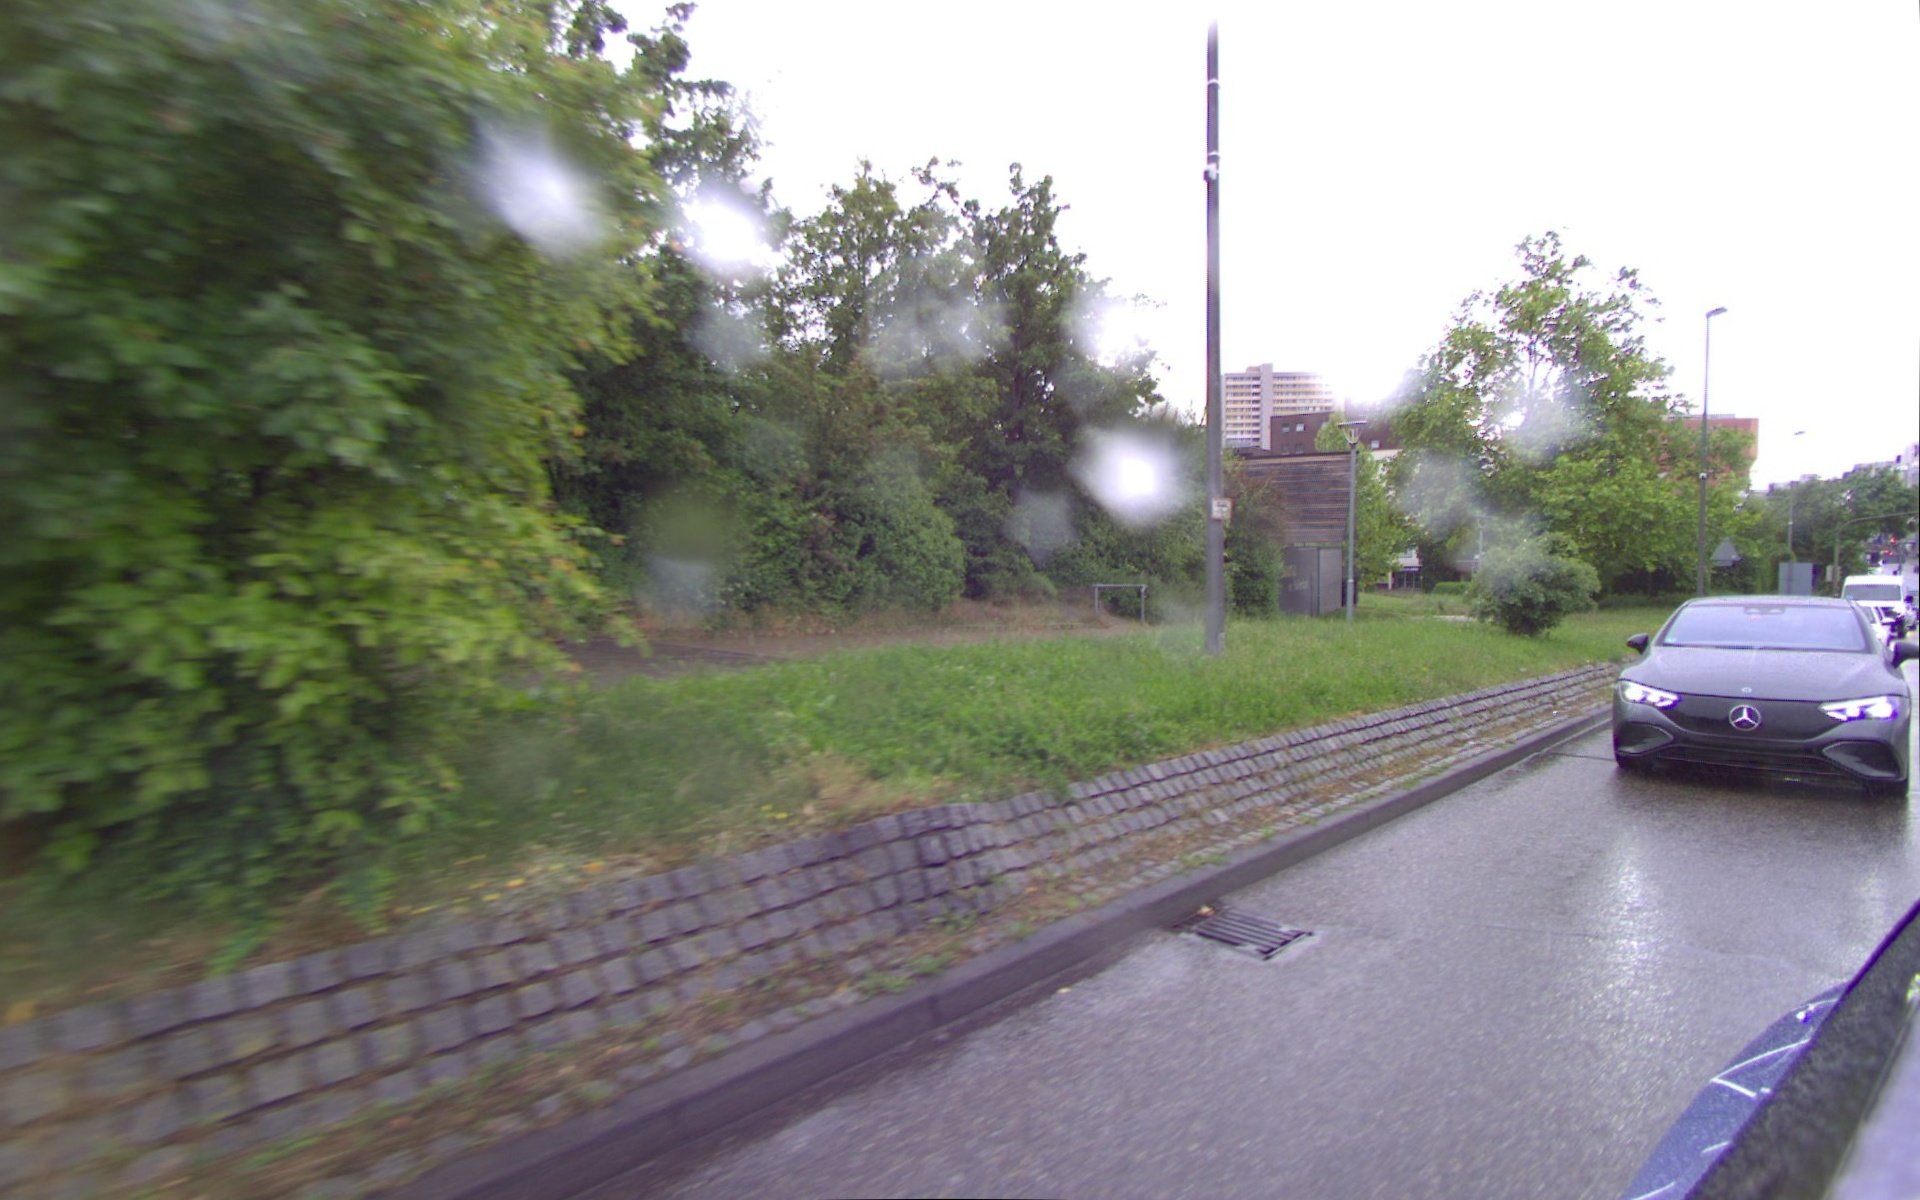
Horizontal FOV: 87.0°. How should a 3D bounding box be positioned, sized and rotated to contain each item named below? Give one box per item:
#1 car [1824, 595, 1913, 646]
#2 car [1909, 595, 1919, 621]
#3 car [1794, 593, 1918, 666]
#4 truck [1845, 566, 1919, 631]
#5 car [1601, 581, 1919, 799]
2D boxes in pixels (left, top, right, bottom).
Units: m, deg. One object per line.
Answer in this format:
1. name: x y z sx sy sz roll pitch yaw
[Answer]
1. car: 27.794 0.586 30.935 3.673 1.394 1.715 -2 1 -43
2. car: 60.007 0.508 62.503 1.994 1.571 3.937 1 1 44
3. car: 19.943 0.586 22.470 3.969 1.415 1.715 -2 1 -43
4. truck: 37.934 -0.152 41.308 6.097 2.469 2.166 -2 2 -43
5. car: 7.458 0.587 9.164 4.477 1.462 1.832 -2 1 -45
